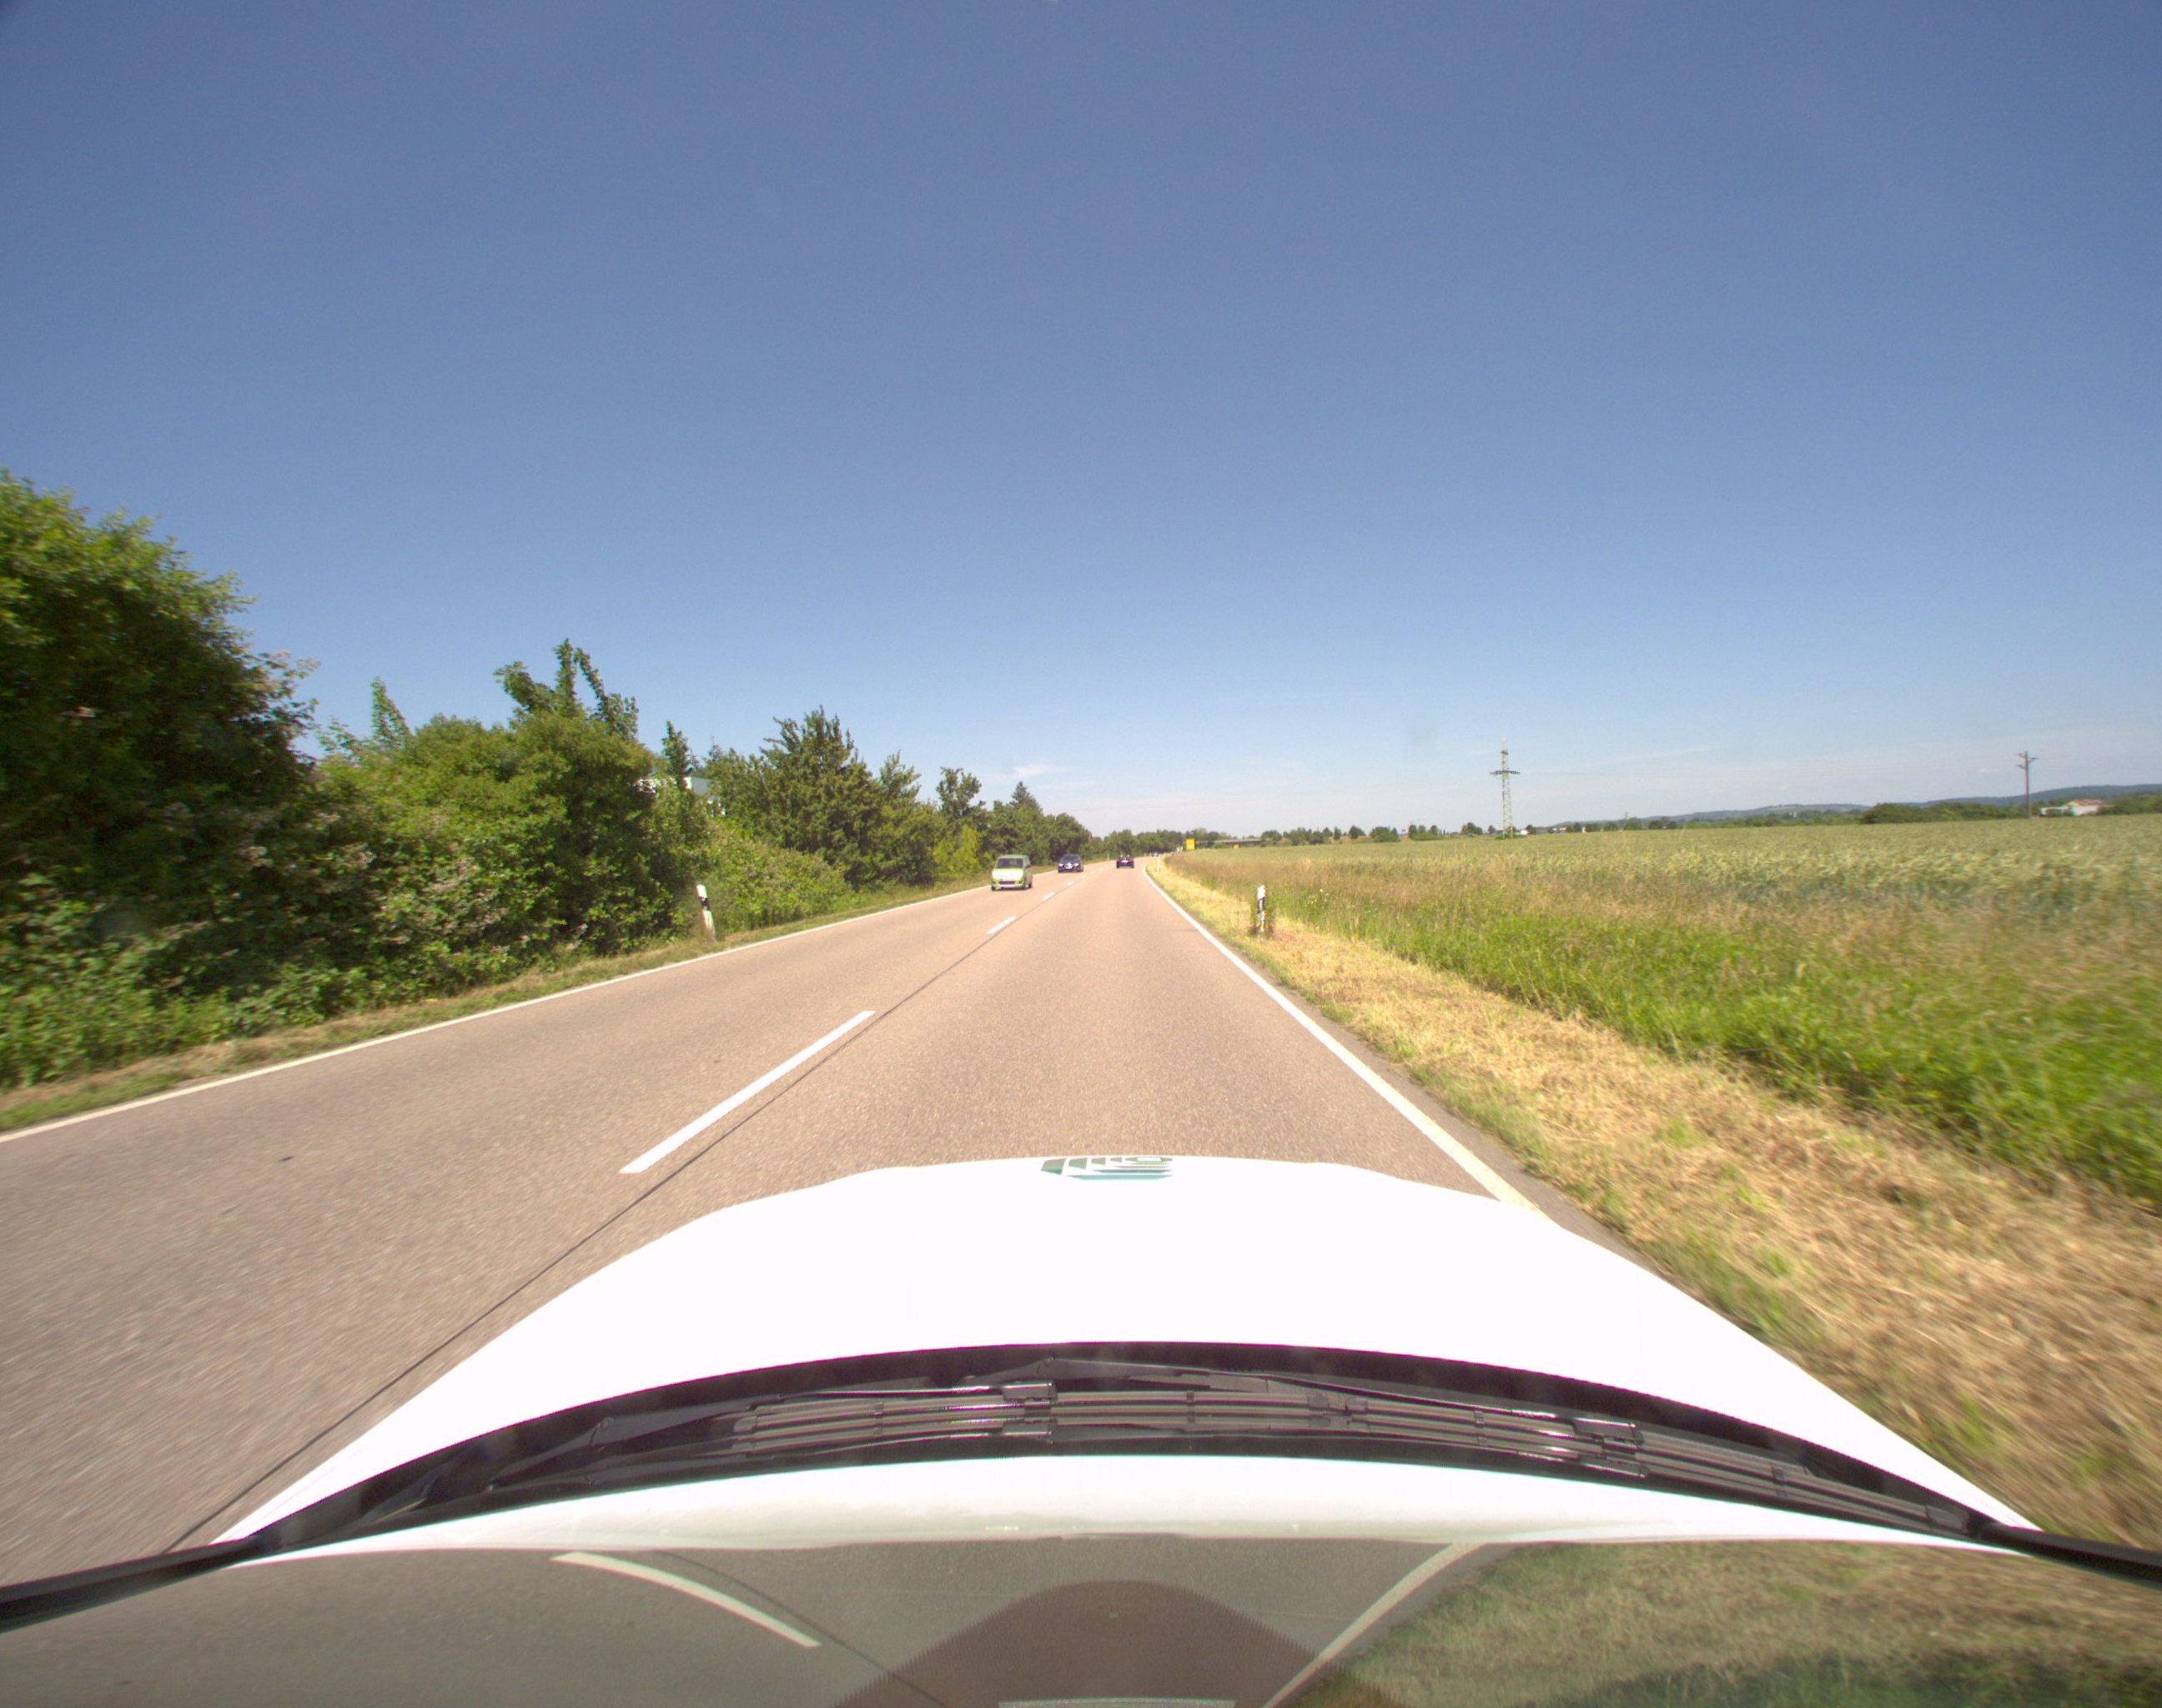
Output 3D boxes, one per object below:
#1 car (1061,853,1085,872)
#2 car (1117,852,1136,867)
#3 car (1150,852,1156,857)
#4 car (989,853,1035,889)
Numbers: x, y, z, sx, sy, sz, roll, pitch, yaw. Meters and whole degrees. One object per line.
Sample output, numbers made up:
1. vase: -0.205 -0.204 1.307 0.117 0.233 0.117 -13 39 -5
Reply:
1. car: -0.652 0.662 67.467 1.794 1.450 4.535 -1 0 2
2. car: 4.576 0.579 81.889 1.805 1.441 4.006 -1 0 5
3. car: 22.286 0.154 251.080 1.690 1.566 3.677 -2 0 6
4. car: -3.033 0.738 36.411 1.490 1.495 3.836 -1 0 3
